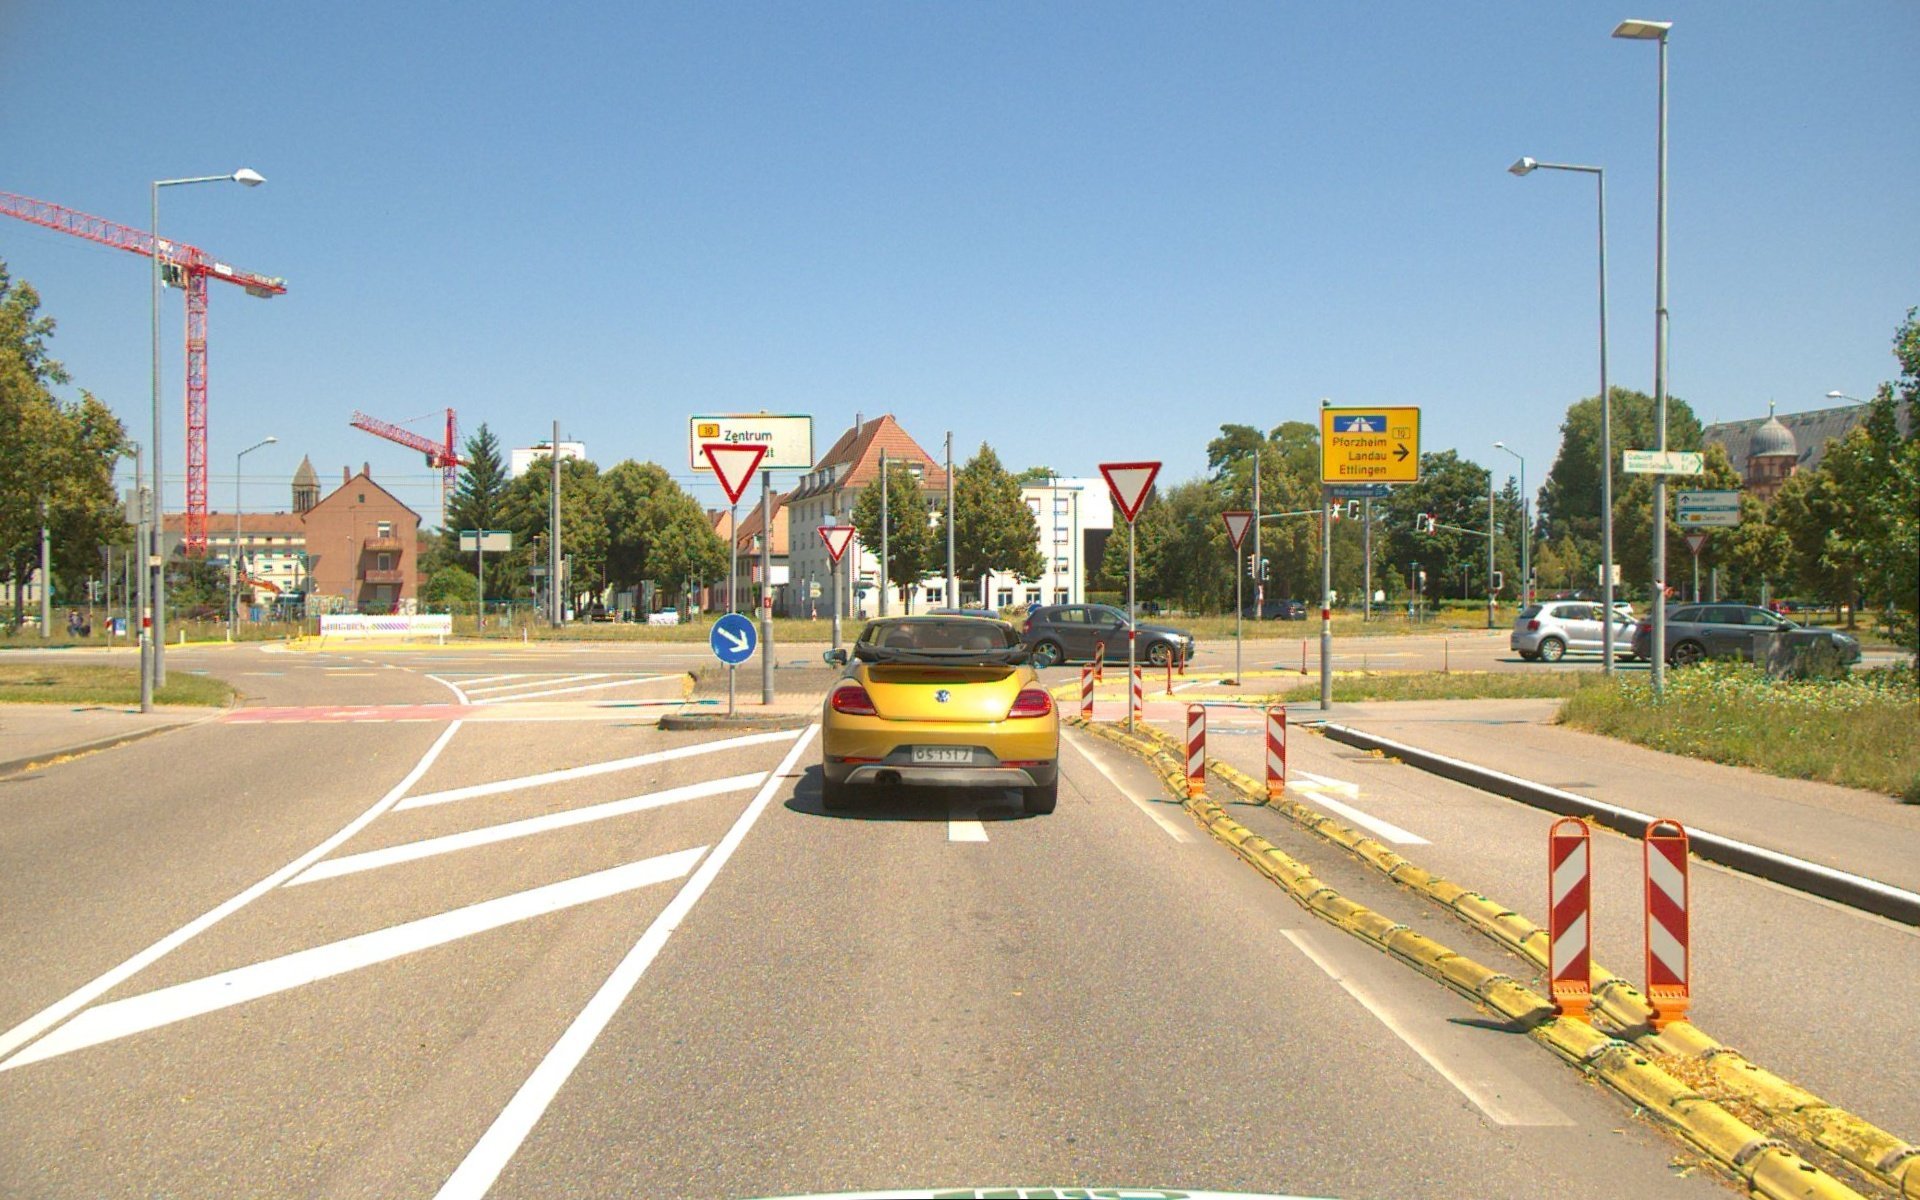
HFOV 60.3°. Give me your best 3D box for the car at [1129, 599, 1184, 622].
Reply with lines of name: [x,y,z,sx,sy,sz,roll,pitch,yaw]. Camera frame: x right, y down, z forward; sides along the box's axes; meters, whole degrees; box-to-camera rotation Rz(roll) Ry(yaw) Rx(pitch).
car: [15.549,0.837,130.816,3.918,1.713,1.993,1,-1,-13]

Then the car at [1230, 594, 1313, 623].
car: [16.697,0.425,88.643,3.932,1.490,1.986,0,-1,44]

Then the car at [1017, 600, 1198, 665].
car: [3.467,0.754,38.646,3.980,1.427,1.755,-1,1,13]

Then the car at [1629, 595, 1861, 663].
car: [17.155,0.628,36.400,4.347,1.443,2.001,-1,0,17]

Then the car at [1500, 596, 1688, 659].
car: [15.402,0.653,40.309,3.904,1.447,1.783,-1,0,2]

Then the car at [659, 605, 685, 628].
car: [-25.994,1.472,149.210,1.959,2.049,3.986,1,-1,-13]

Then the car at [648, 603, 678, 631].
car: [-22.347,1.261,124.366,1.959,2.049,3.986,1,-1,-13]

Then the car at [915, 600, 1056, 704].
car: [0.491,0.767,26.466,1.758,1.465,4.004,0,1,8]

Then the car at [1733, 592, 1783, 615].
car: [74.402,0.354,154.184,3.923,2.049,1.991,0,-1,38]

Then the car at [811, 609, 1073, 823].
car: [-0.150,0.811,13.205,1.788,1.427,3.661,1,0,-1]

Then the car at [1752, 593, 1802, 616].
car: [76.827,0.412,155.523,3.923,2.049,1.991,0,-1,38]

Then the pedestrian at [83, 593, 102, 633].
pedestrian: [-44.607,0.662,85.052,0.589,2.049,0.594,1,-1,-1]

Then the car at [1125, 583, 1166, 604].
car: [18.811,-0.662,167.699,3.902,2.049,2.001,1,-1,14]

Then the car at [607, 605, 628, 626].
car: [-34.139,1.503,164.772,1.959,2.049,3.986,1,-1,-13]
